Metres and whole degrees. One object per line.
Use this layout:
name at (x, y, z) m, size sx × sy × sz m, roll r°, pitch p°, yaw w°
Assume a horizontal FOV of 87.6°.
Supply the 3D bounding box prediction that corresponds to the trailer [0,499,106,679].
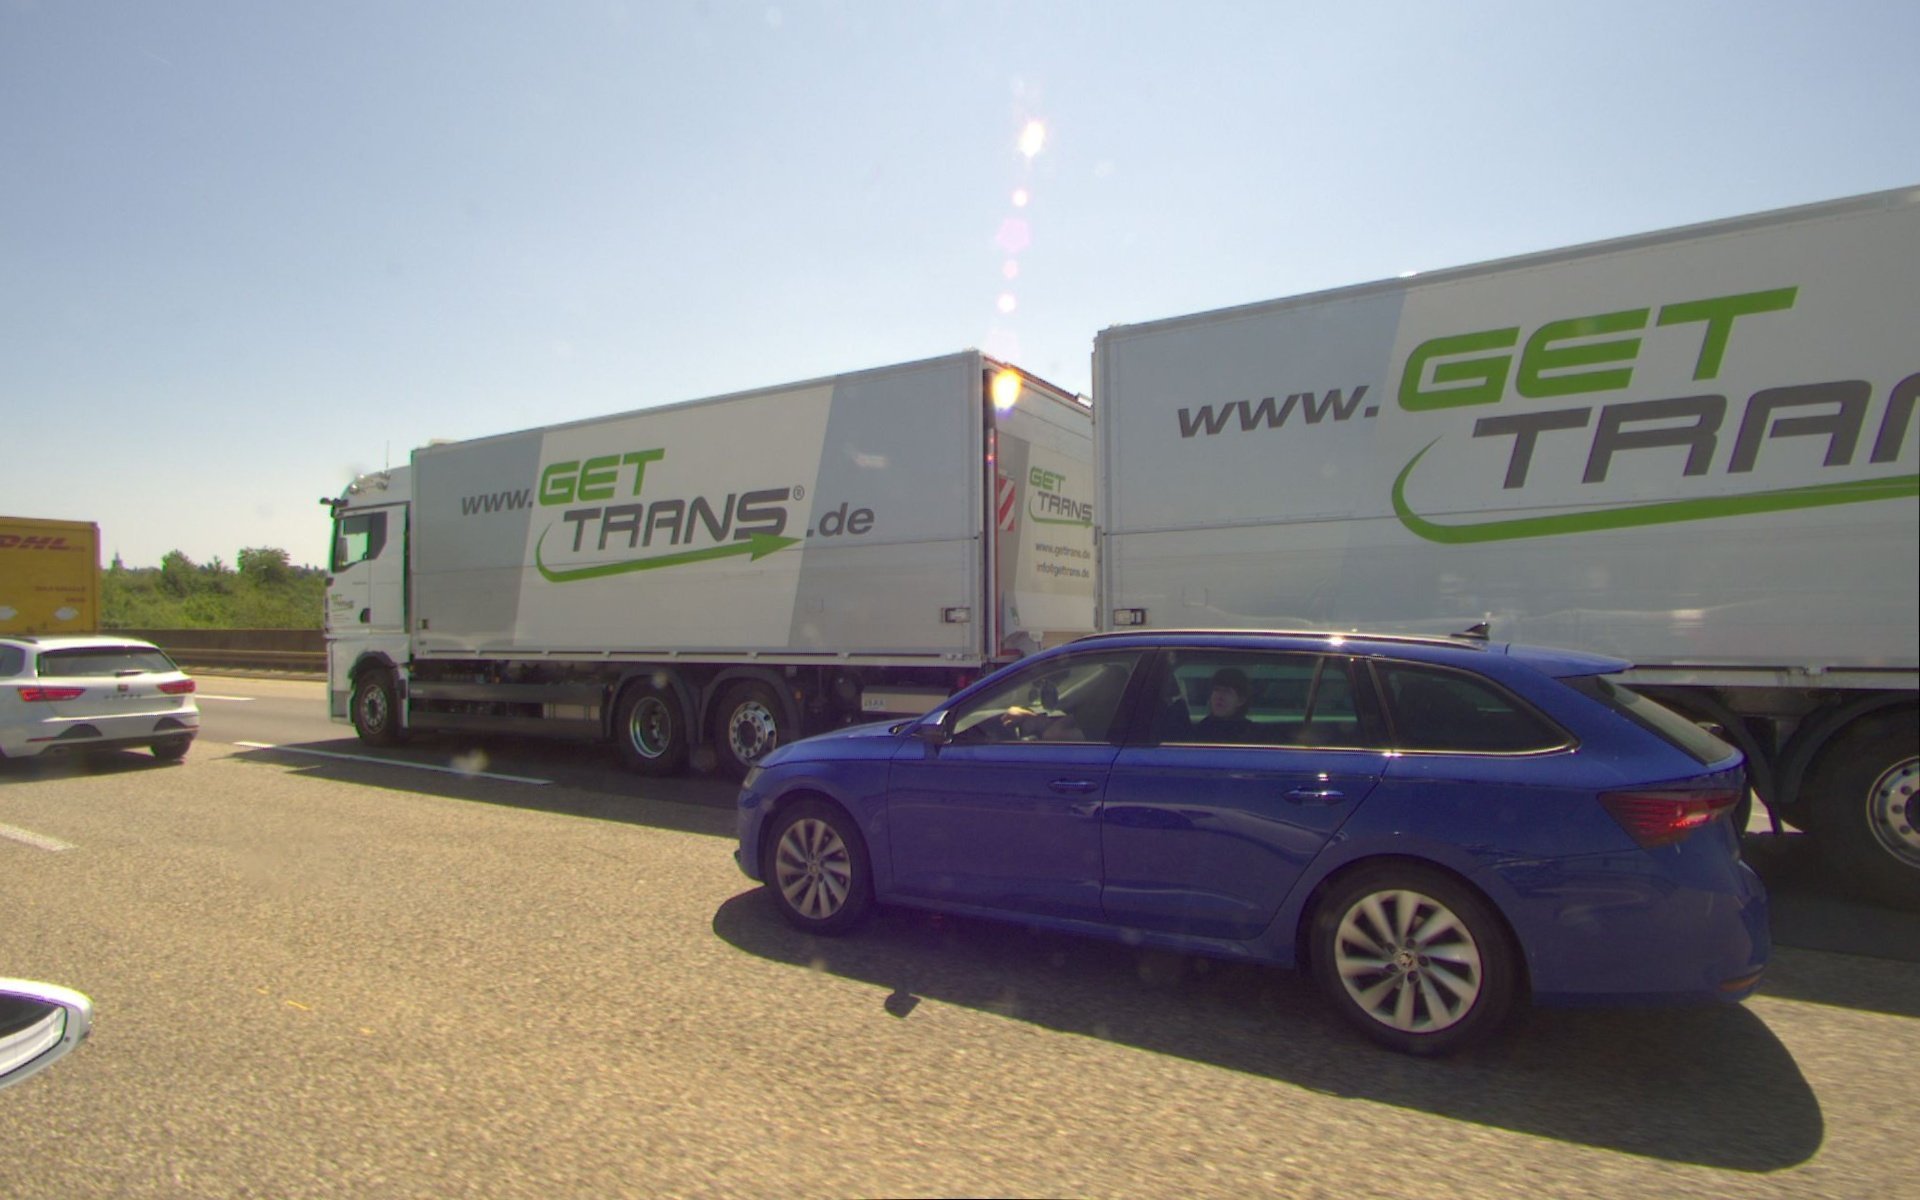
trailer at (-25.200, -0.117, 25.539) m, size 8.803 × 4.074 × 2.697 m, roll -2°, pitch -2°, yaw 32°

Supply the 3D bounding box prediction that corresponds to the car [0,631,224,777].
car at (-10.483, 1.072, 11.605) m, size 4.128 × 1.405 × 1.778 m, roll -1°, pitch -1°, yaw 32°

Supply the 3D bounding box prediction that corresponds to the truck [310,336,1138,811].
truck at (-3.437, -0.045, 11.733) m, size 10.616 × 3.648 × 2.846 m, roll -1°, pitch -2°, yaw 32°

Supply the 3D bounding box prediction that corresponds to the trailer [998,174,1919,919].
trailer at (4.488, -0.215, 6.698) m, size 8.173 × 3.640 × 2.840 m, roll -1°, pitch -1°, yaw 32°

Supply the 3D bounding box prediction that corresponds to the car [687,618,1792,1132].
car at (0.912, 0.833, 4.748) m, size 4.435 × 1.459 × 1.707 m, roll -1°, pitch -1°, yaw 32°
